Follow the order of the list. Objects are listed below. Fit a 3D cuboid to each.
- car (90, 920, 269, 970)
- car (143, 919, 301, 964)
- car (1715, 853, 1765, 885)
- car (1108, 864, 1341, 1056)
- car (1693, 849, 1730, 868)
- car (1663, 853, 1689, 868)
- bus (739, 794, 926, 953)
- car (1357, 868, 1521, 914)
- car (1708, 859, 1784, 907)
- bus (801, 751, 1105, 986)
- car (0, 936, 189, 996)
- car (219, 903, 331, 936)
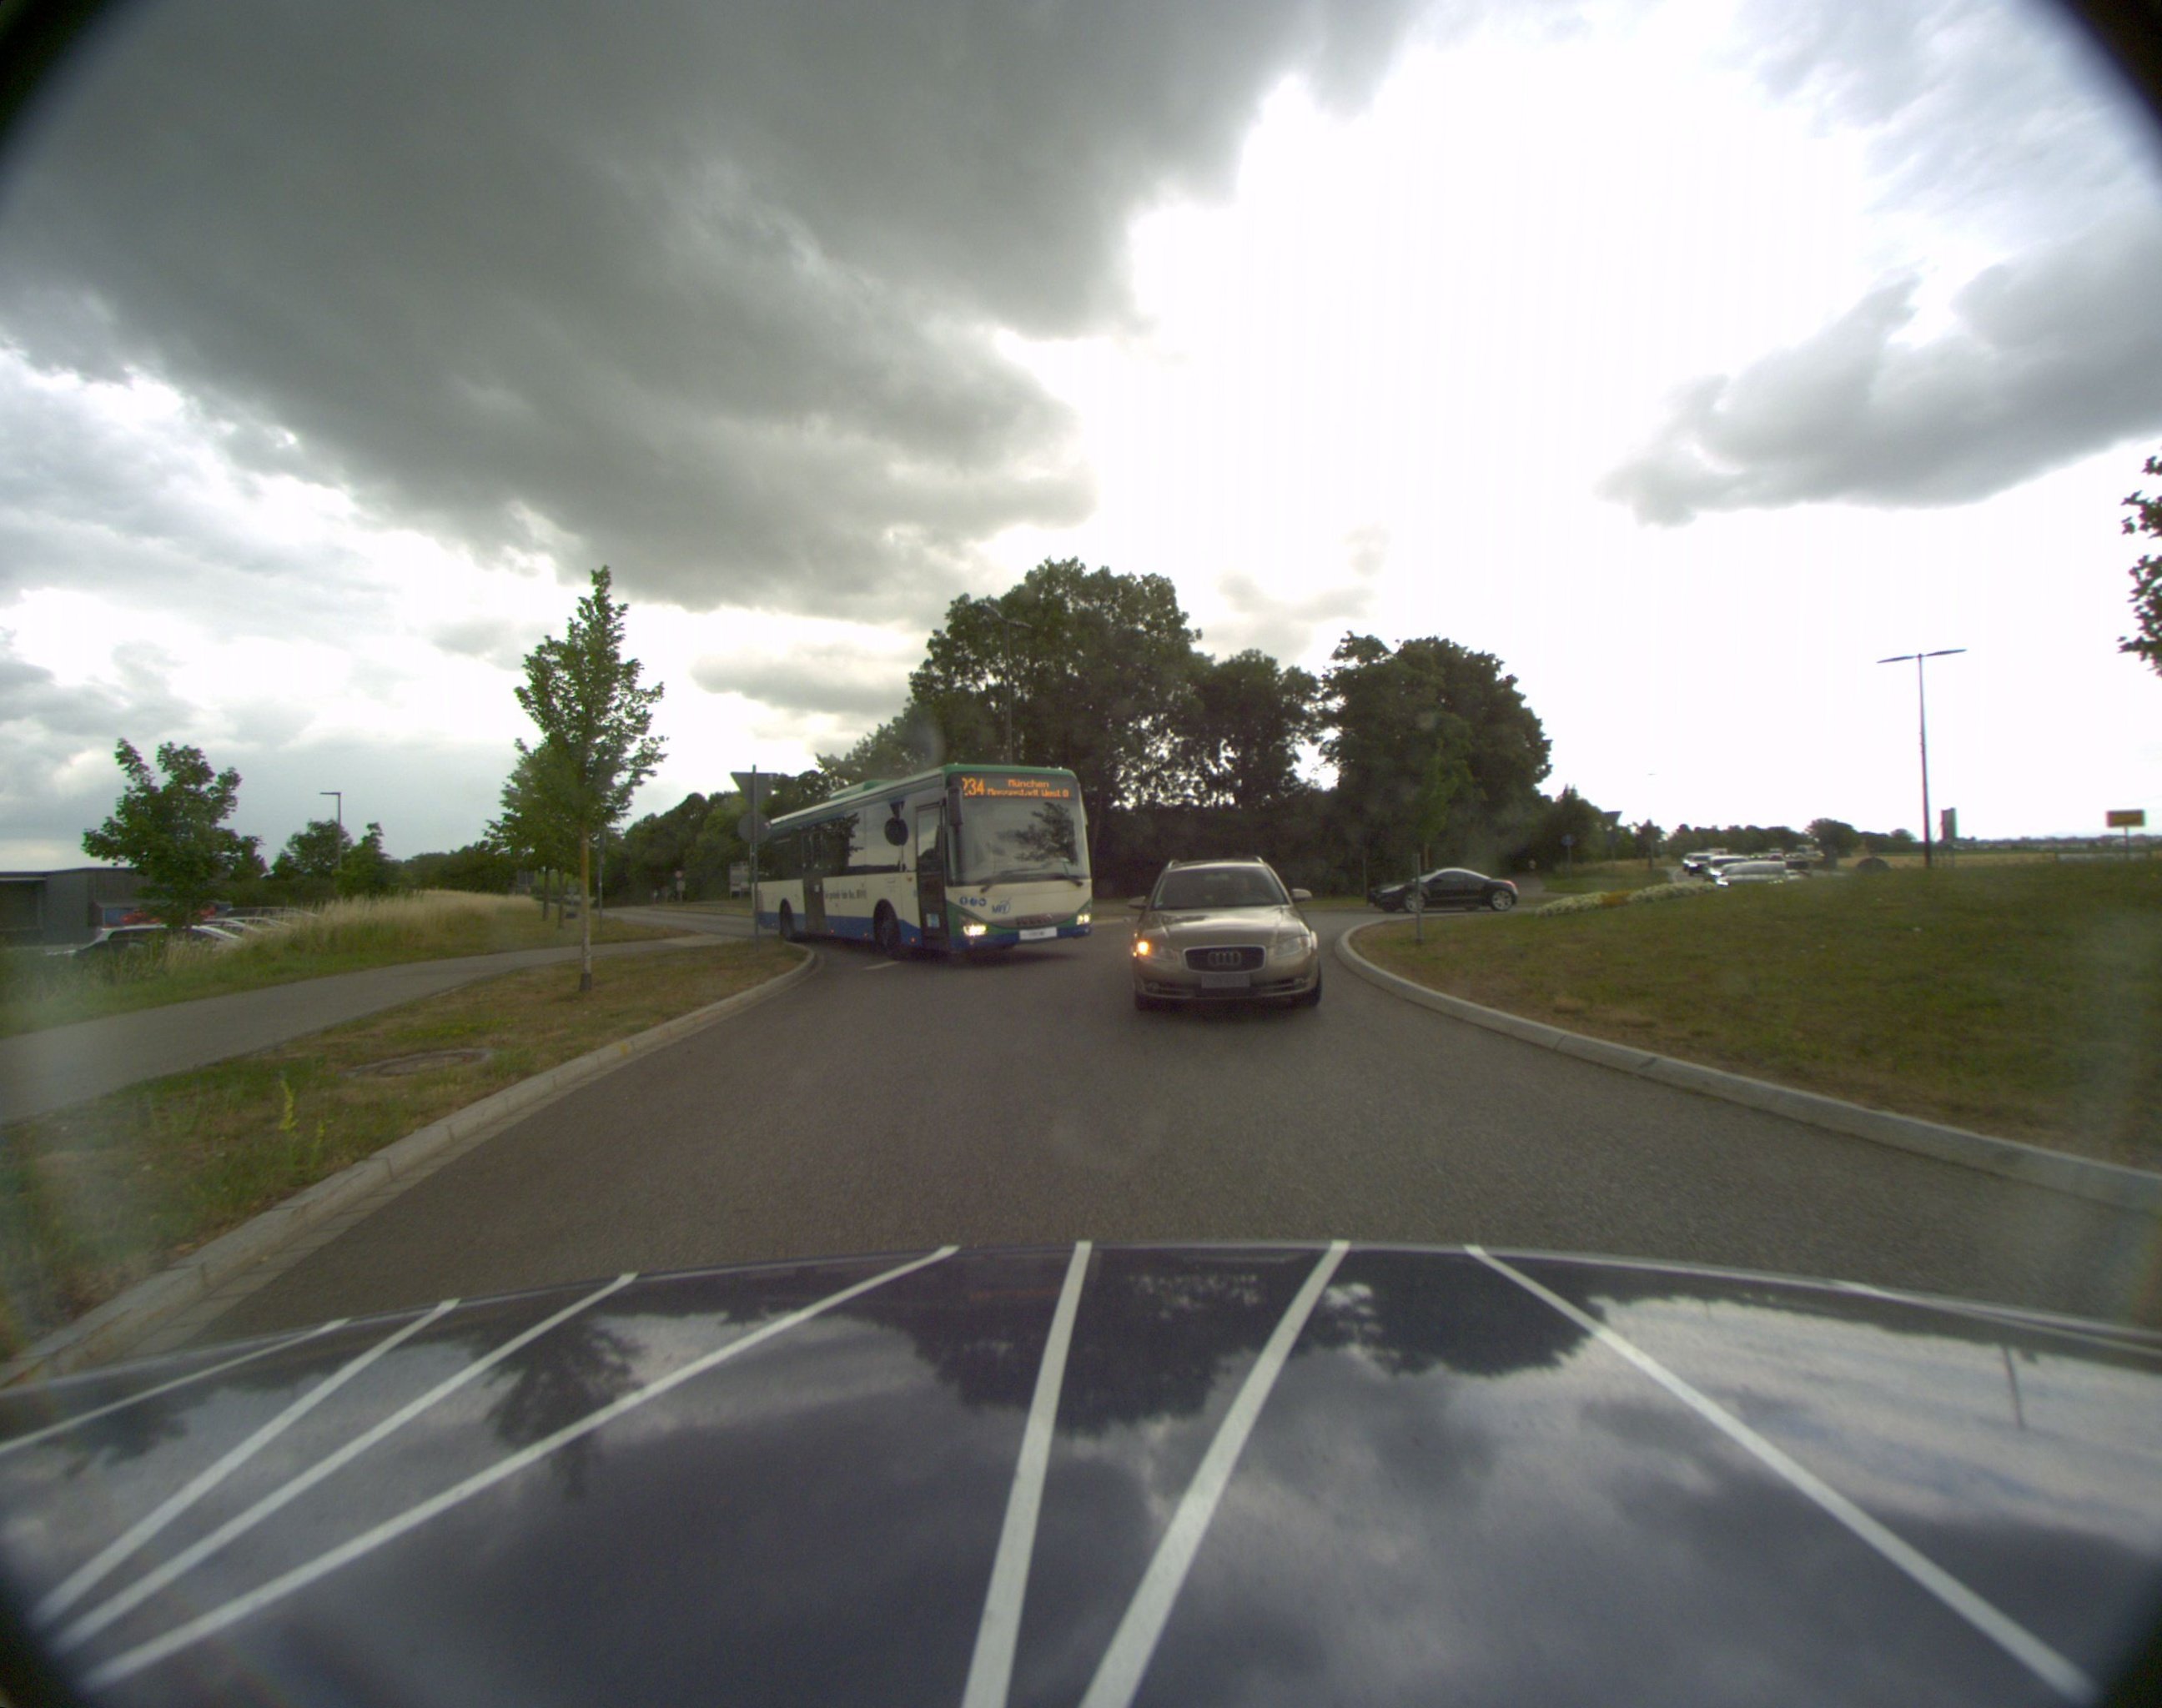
[{"bbox_3d":[-33.156,3.317,28.114,3.895,1.455,1.694,-1,-1,-28],"label":"car"},{"bbox_3d":[-34.654,3.500,30.807,3.895,1.455,1.694,-1,-1,-28],"label":"car"},{"bbox_3d":[33.330,0.745,38.440,1.777,1.489,3.818,-3,-1,41],"label":"car"},{"bbox_3d":[1.453,0.898,8.398,1.781,1.456,4.544,-3,-1,8],"label":"car"},{"bbox_3d":[46.632,0.309,56.268,1.777,1.310,3.818,-3,-1,36],"label":"car"},{"bbox_3d":[56.194,0.597,71.783,1.777,1.310,3.818,-3,-1,36],"label":"car"},{"bbox_3d":[-6.257,0.403,18.631,2.529,3.240,5.447,-5,2,-37],"label":"bus"},{"bbox_3d":[10.746,1.104,23.022,4.112,1.299,1.831,0,-2,0],"label":"car"},{"bbox_3d":[23.113,0.963,26.339,1.836,1.449,4.144,-2,0,43],"label":"car"},{"bbox_3d":[-2.688,0.195,13.834,2.529,3.240,6.532,-5,2,-37],"label":"bus"},{"bbox_3d":[-31.573,3.516,24.096,3.895,1.455,1.694,-1,-1,-28],"label":"car"},{"bbox_3d":[-43.647,3.524,41.279,4.008,1.435,1.879,-1,-1,-43],"label":"car"}]
